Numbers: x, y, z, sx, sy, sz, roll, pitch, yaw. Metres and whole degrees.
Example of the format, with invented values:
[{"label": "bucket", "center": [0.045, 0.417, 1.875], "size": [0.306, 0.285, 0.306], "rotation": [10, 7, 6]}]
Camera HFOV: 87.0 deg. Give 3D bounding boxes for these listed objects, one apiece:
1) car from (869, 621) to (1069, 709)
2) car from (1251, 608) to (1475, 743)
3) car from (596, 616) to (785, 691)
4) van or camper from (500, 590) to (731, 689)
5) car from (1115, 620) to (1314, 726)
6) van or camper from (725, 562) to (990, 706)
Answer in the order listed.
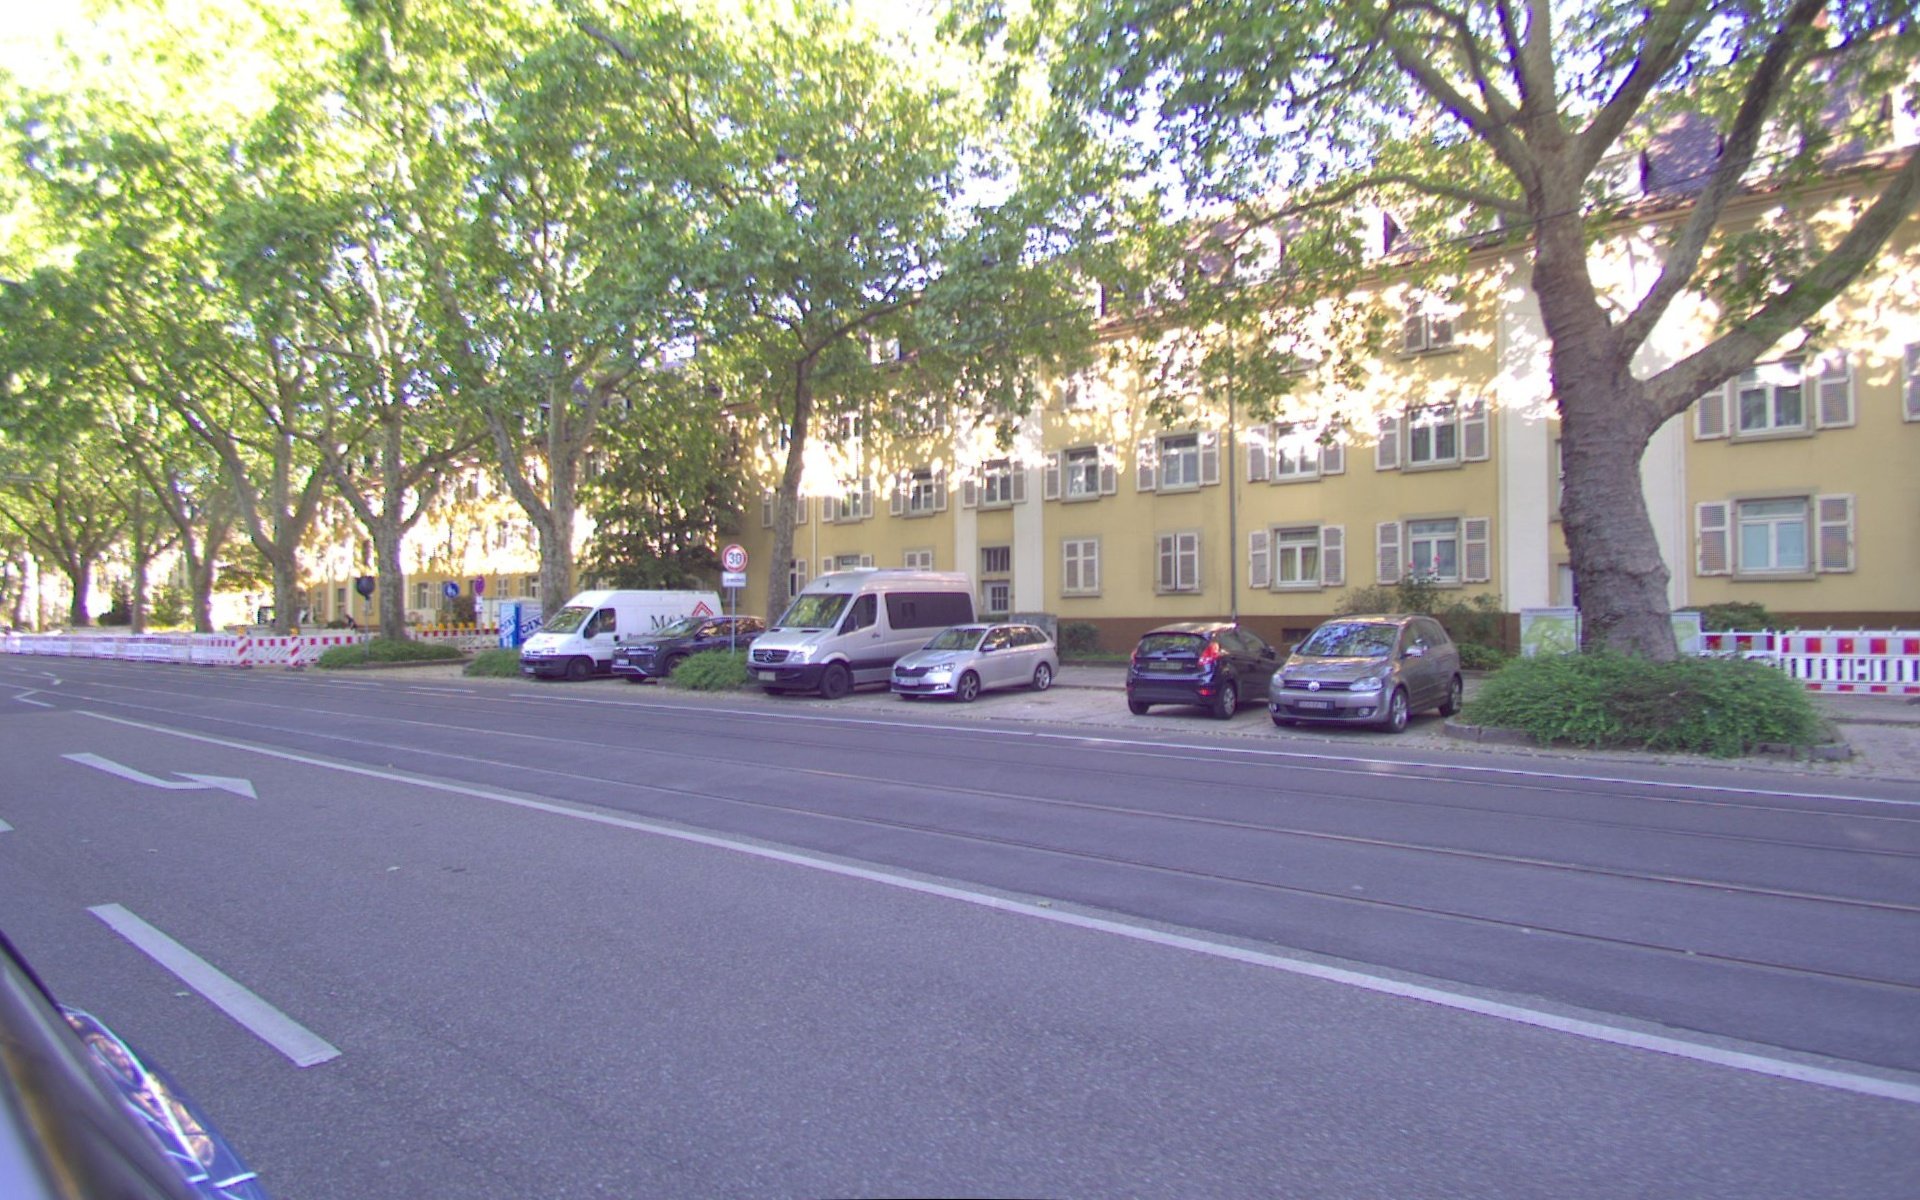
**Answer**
[{"label": "car", "center": [0.279, 1.207, 20.186], "size": [1.692, 1.457, 4.222], "rotation": [-1, 0, 40]}, {"label": "car", "center": [5.990, 0.962, 14.773], "size": [1.843, 1.631, 4.028], "rotation": [-1, 0, 41]}, {"label": "car", "center": [-6.738, 1.268, 25.684], "size": [1.692, 1.645, 4.482], "rotation": [-1, 0, 40]}, {"label": "van or camper", "center": [-9.243, 0.958, 27.656], "size": [2.154, 2.403, 5.691], "rotation": [-1, 0, 39]}, {"label": "car", "center": [4.318, 1.107, 16.819], "size": [1.692, 1.457, 3.812], "rotation": [-1, 0, 41]}, {"label": "van or camper", "center": [-2.001, 0.625, 21.726], "size": [2.154, 2.668, 5.858], "rotation": [-1, 0, 39]}]
